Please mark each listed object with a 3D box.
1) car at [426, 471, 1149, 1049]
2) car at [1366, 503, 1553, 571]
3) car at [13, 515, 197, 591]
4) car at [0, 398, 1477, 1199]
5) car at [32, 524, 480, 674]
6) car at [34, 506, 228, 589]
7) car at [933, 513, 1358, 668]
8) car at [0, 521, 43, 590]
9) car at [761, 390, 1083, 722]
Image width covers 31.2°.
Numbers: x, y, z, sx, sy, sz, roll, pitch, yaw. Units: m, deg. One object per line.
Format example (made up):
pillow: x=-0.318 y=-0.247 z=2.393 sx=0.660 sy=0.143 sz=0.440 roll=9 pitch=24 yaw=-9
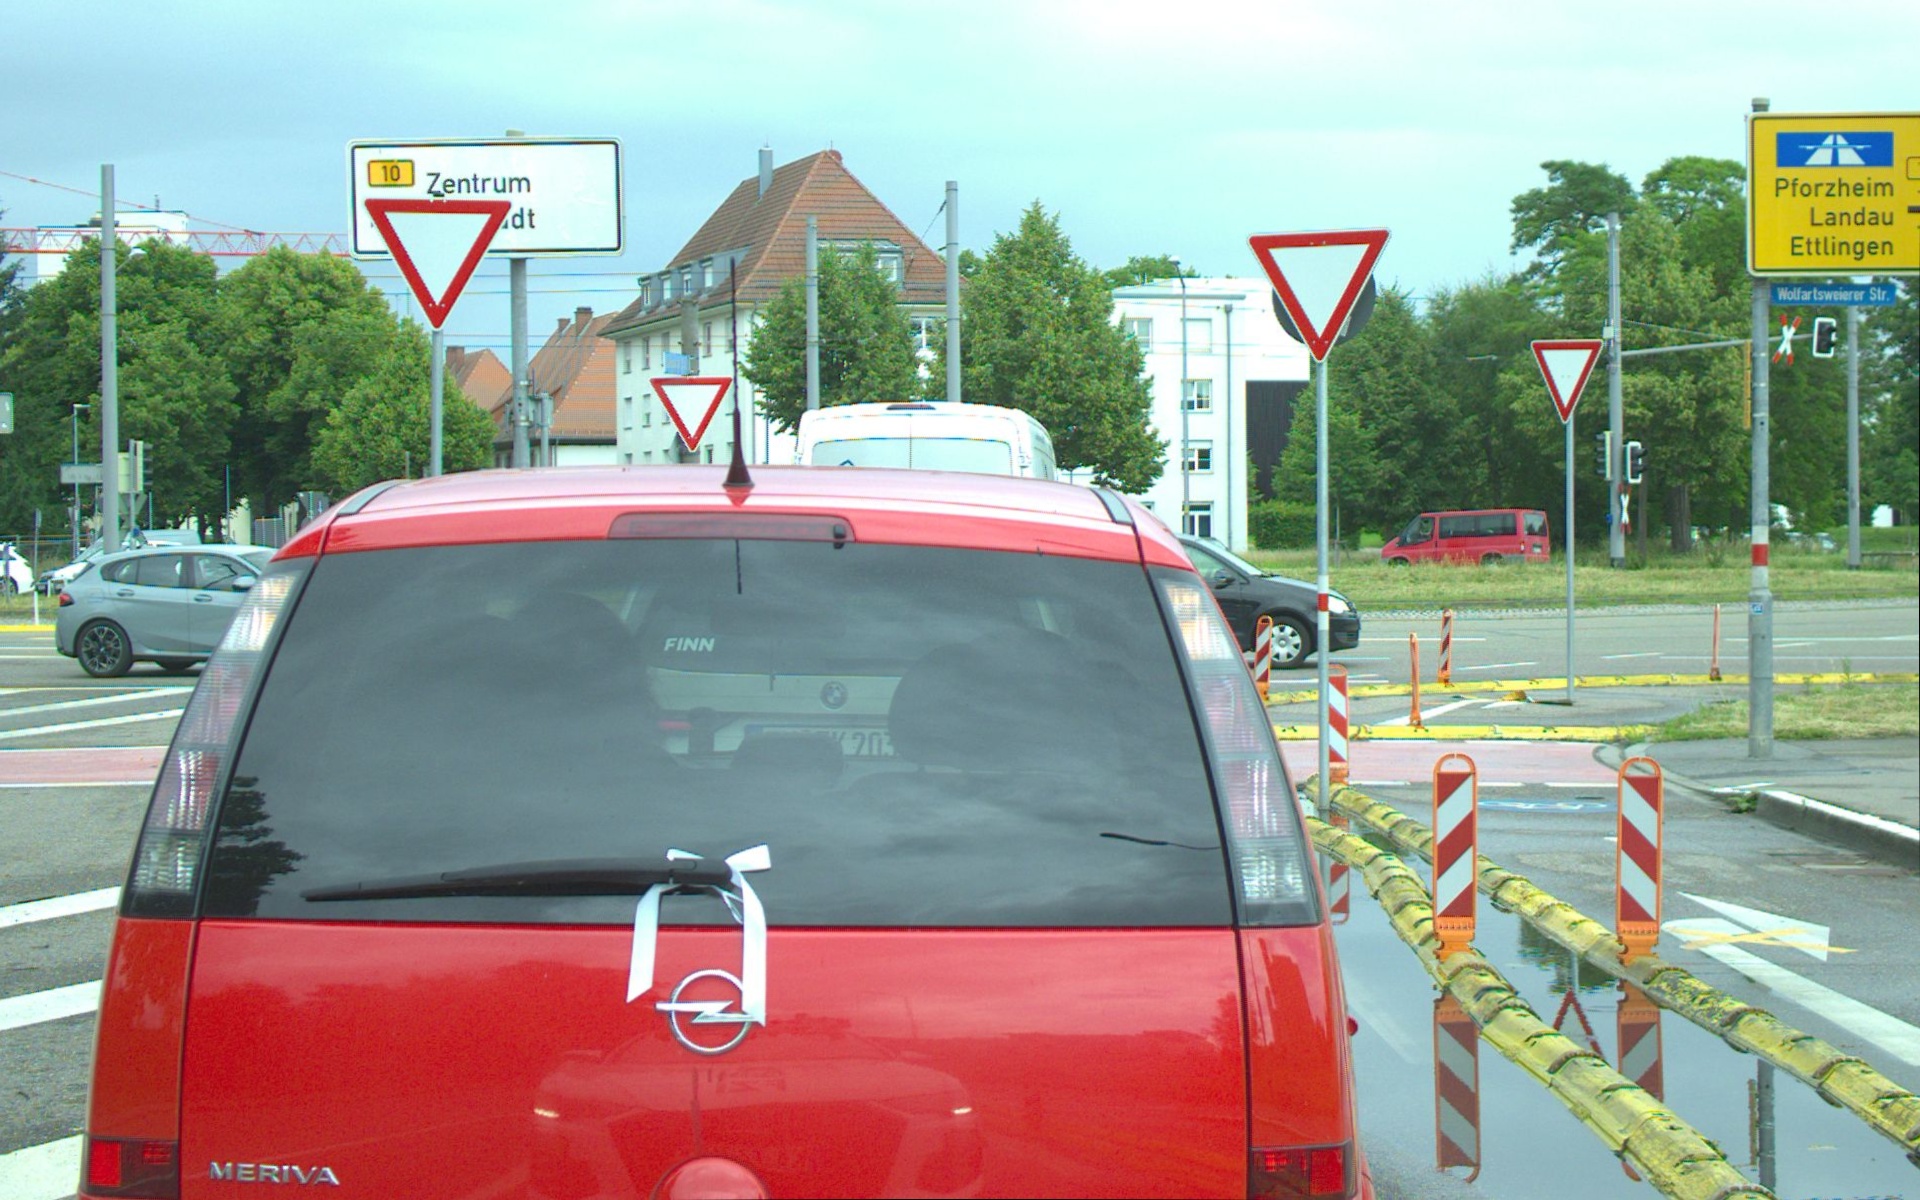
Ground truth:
car: x=-0.524 y=0.412 z=12.186 sx=2.059 sy=1.642 sz=4.607 roll=1 pitch=1 yaw=-1
car: x=14.360 y=-1.812 z=98.935 sx=4.883 sy=1.911 sz=2.112 roll=0 pitch=1 yaw=34
car: x=-23.389 y=-1.300 z=94.080 sx=4.463 sy=2.007 sz=2.000 roll=-1 pitch=1 yaw=-30
car: x=-0.316 y=0.572 z=5.488 sx=1.673 sy=1.635 sz=3.627 roll=1 pitch=1 yaw=-1
car: x=-7.849 y=-0.018 z=38.447 sx=4.429 sy=1.597 sz=2.097 roll=0 pitch=1 yaw=18
car: x=-20.537 y=-1.322 z=85.314 sx=1.997 sy=2.007 sz=4.471 roll=0 pitch=1 yaw=35
car: x=2.062 y=-0.116 z=37.369 sx=4.427 sy=1.597 sz=2.098 roll=0 pitch=1 yaw=8
car: x=-24.029 y=-1.021 z=80.611 sx=1.997 sy=1.629 sz=4.666 roll=0 pitch=1 yaw=35
car: x=-0.214 y=-0.391 z=28.961 sx=2.195 sy=2.531 sz=4.961 roll=1 pitch=1 yaw=5
